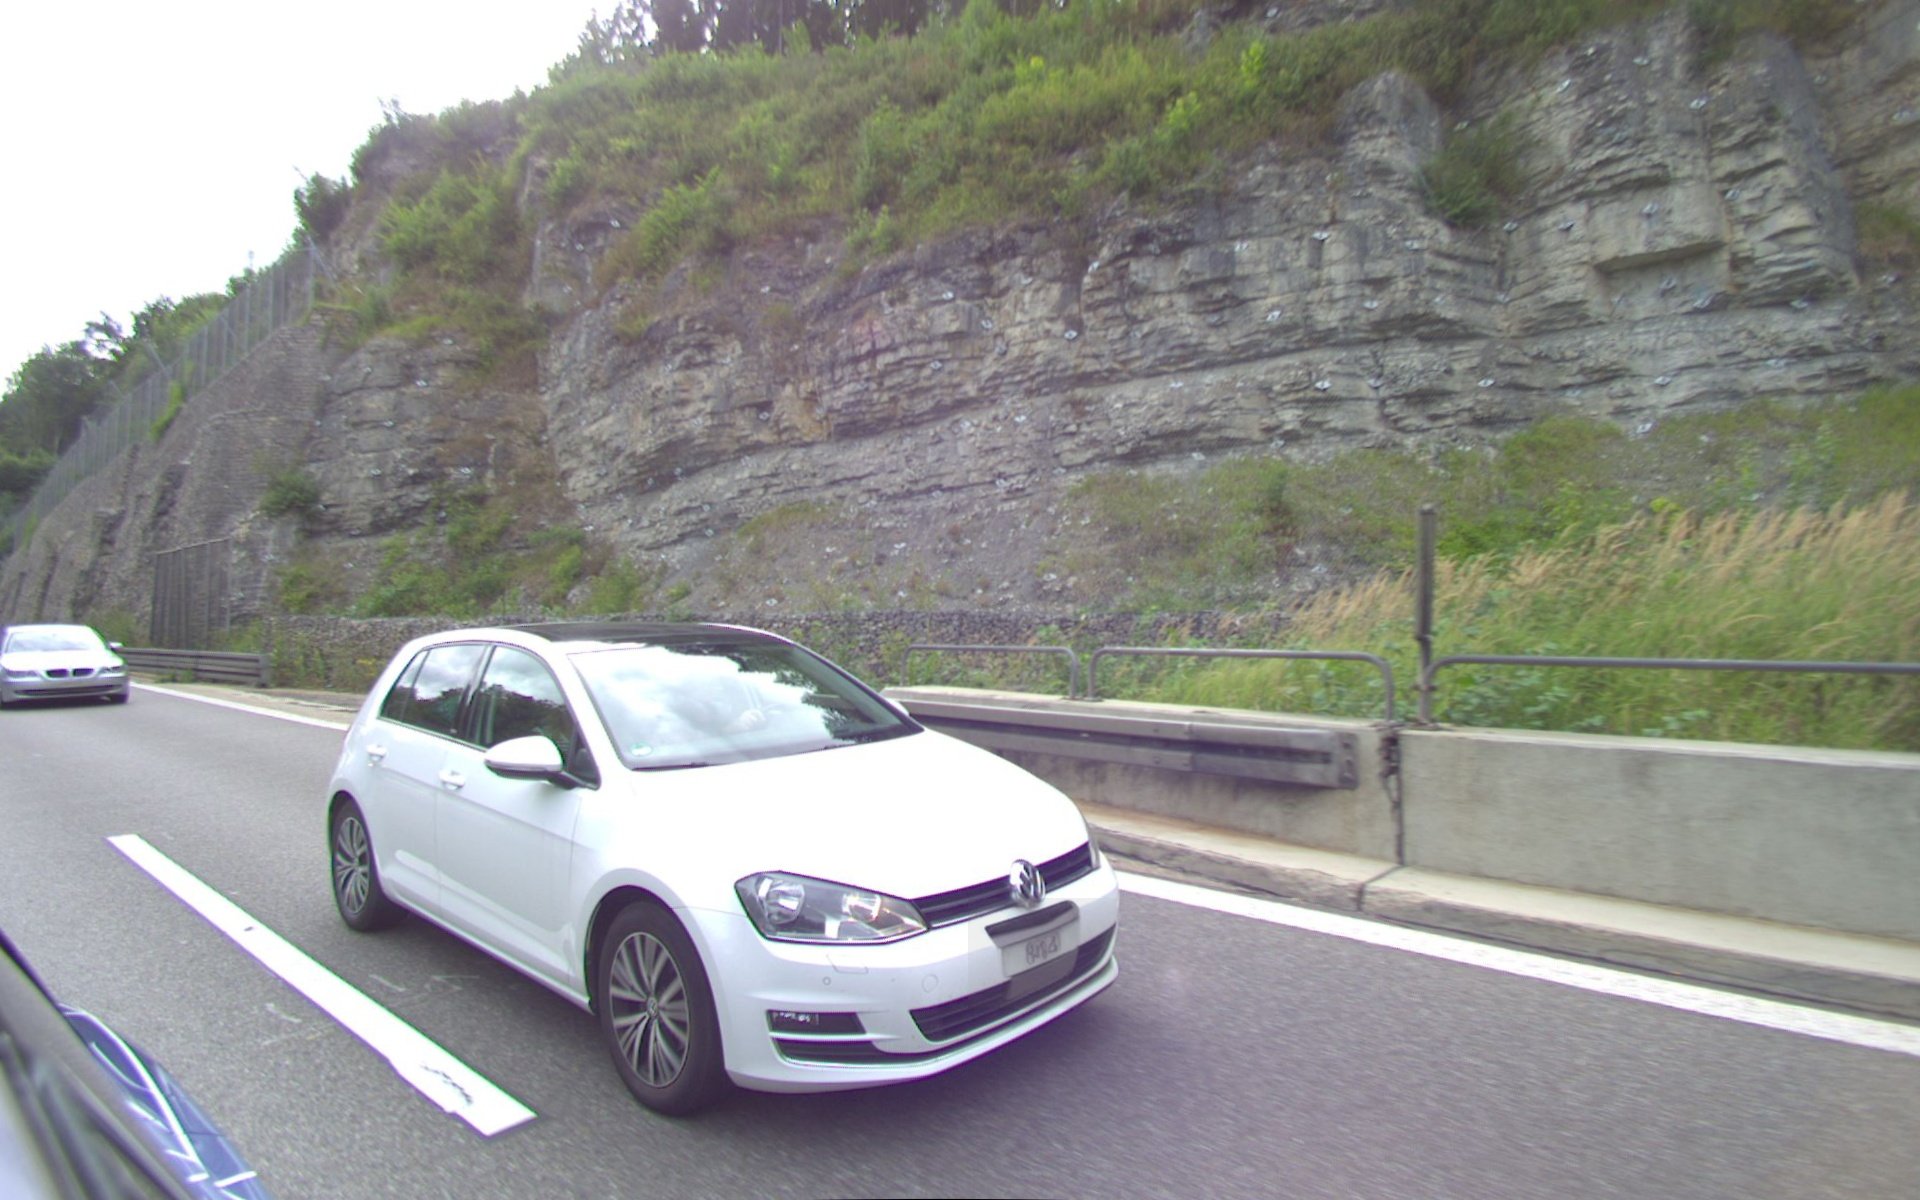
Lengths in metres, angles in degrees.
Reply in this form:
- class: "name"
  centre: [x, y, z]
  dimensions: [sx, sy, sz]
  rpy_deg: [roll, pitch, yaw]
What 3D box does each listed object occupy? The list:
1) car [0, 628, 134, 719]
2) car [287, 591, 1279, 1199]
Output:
- class: "car"
  centre: [-17.316, 1.308, 19.169]
  dimensions: [5.133, 1.468, 1.809]
  rpy_deg: [-2, -1, 42]
- class: "car"
  centre: [-1.205, 0.768, 4.407]
  dimensions: [4.627, 1.493, 1.825]
  rpy_deg: [-1, -2, 43]
